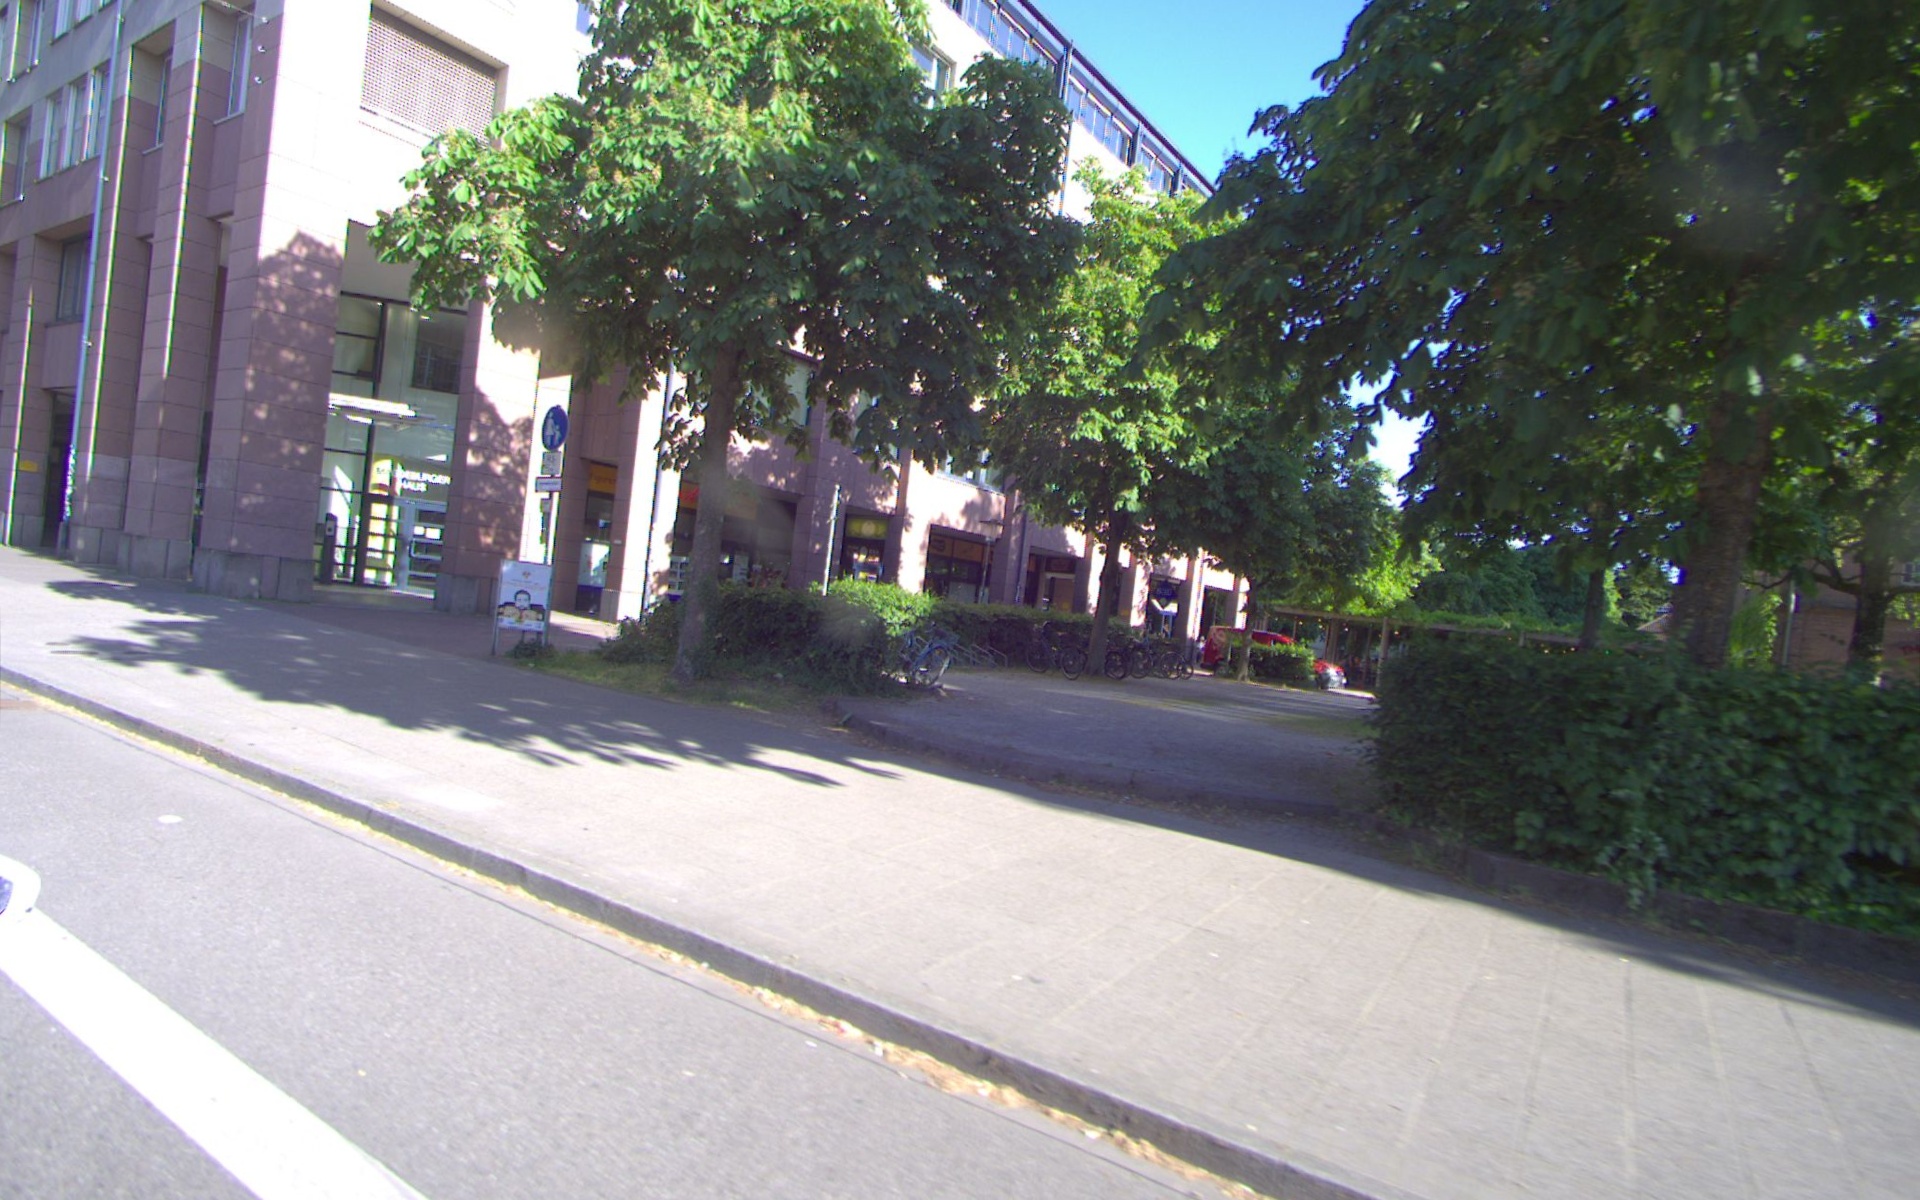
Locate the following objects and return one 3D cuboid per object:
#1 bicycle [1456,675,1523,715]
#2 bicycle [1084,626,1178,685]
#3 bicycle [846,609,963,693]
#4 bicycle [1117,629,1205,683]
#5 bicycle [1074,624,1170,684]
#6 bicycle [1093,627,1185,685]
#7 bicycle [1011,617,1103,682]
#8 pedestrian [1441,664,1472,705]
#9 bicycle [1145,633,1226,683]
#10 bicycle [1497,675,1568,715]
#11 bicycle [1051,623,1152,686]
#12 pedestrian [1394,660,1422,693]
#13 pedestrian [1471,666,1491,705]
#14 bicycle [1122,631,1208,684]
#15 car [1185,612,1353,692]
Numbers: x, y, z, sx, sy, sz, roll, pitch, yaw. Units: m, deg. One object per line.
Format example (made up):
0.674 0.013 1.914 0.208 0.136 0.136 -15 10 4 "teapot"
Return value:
18.772 3.357 35.730 0.447 1.143 2.119 8 -2 -26 "bicycle"
4.146 1.343 24.428 2.094 1.143 0.452 7 -1 26 "bicycle"
-0.864 0.734 15.048 0.417 1.009 2.197 6 0 -40 "bicycle"
5.271 1.462 26.441 2.095 1.143 0.452 7 -1 27 "bicycle"
3.834 1.282 23.885 2.094 1.143 0.452 7 -1 26 "bicycle"
4.444 1.388 25.008 2.094 1.143 0.452 7 -1 26 "bicycle"
2.018 1.031 21.262 0.449 1.143 2.109 8 -2 -39 "bicycle"
18.596 3.153 37.684 0.825 1.416 0.585 8 -1 -38 "pedestrian"
6.465 1.658 28.909 2.094 1.143 0.452 7 -1 26 "bicycle"
20.543 3.405 36.131 2.097 1.143 0.451 7 -1 32 "bicycle"
3.193 1.222 22.754 2.094 1.143 0.452 7 -1 26 "bicycle"
16.790 2.869 37.684 0.750 1.092 0.585 8 -1 -39 "pedestrian"
19.161 3.153 36.988 0.485 1.364 0.351 7 -1 33 "pedestrian"
5.497 1.541 27.004 2.094 1.143 0.452 7 -1 26 "bicycle"
10.368 1.728 33.968 5.118 2.039 1.229 7 1 30 "car"
